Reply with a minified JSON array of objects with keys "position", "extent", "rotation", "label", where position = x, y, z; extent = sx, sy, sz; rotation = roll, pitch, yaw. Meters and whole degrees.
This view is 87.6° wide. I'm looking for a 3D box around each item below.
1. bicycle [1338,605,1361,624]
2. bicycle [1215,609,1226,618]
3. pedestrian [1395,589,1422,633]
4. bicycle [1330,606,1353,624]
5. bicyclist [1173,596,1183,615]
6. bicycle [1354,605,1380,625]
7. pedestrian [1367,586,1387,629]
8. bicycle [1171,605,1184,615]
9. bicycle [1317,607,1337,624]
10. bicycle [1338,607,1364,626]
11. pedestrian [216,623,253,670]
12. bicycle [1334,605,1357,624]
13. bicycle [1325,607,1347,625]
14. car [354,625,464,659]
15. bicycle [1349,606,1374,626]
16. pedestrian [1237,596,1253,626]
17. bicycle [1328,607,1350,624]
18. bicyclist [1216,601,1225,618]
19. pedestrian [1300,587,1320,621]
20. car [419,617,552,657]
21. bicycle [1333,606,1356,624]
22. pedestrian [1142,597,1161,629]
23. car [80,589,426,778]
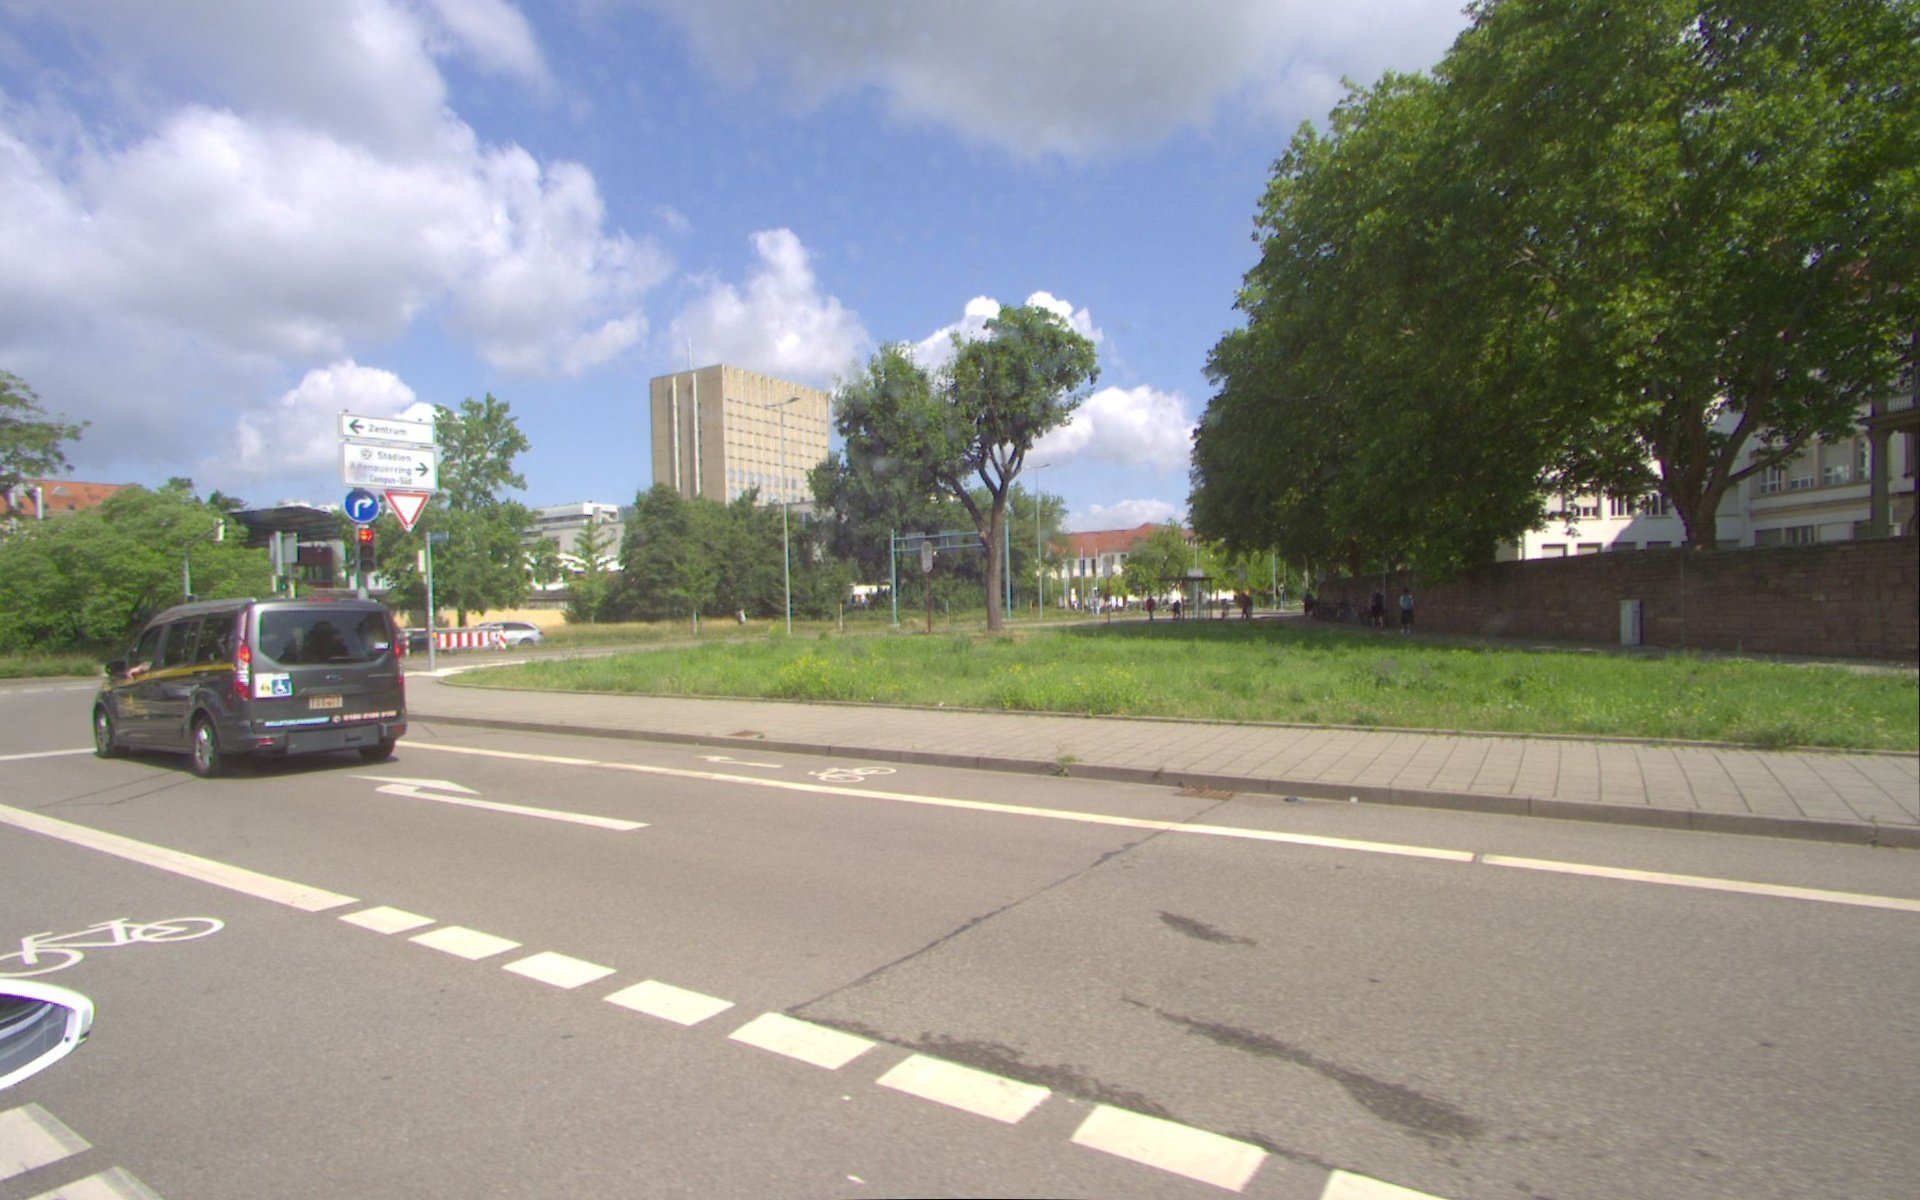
[{"position":[18.419,0.675,47.363],"extent":[0.955,0.860,0.482],"rotation":[-1,1,11],"label":"bicycle"},{"position":[21.878,1.154,84.165],"extent":[0.541,0.707,1.584],"rotation":[-1,0,28],"label":"bicycle"},{"position":[16.375,0.412,36.568],"extent":[0.712,1.554,0.724],"rotation":[-2,0,9],"label":"pedestrian"},{"position":[18.786,0.747,49.310],"extent":[0.955,0.860,0.482],"rotation":[-1,1,11],"label":"bicycle"},{"position":[16.207,0.412,74.476],"extent":[0.552,1.433,0.604],"rotation":[-1,1,28],"label":"bicyclist"},{"position":[17.686,0.644,43.549],"extent":[0.955,0.860,0.482],"rotation":[-1,1,11],"label":"bicycle"},{"position":[16.966,0.307,40.752],"extent":[0.651,1.746,0.742],"rotation":[-1,1,14],"label":"pedestrian"},{"position":[16.210,0.768,74.468],"extent":[0.541,0.707,1.584],"rotation":[-1,0,27],"label":"bicycle"},{"position":[19.554,0.828,53.364],"extent":[0.955,0.860,0.482],"rotation":[-1,1,11],"label":"bicycle"},{"position":[18.186,0.768,46.568],"extent":[1.053,0.860,0.499],"rotation":[-1,1,11],"label":"bicycle"},{"position":[-30.045,1.938,41.476],"extent":[1.161,1.881,0.697],"rotation":[-2,0,22],"label":"pedestrian"},{"position":[18.513,0.701,48.096],"extent":[0.955,0.860,0.482],"rotation":[-1,1,11],"label":"bicycle"},{"position":[18.978,0.791,50.502],"extent":[0.955,0.860,0.482],"rotation":[-1,1,11],"label":"bicycle"},{"position":[-25.985,1.957,47.350],"extent":[1.973,1.395,4.135],"rotation":[-1,0,34],"label":"car"},{"position":[17.741,0.690,44.232],"extent":[0.955,0.860,0.482],"rotation":[-1,1,11],"label":"bicycle"},{"position":[17.645,0.699,61.944],"extent":[0.739,1.803,0.766],"rotation":[-2,0,33],"label":"pedestrian"},{"position":[18.892,0.771,49.953],"extent":[0.955,0.860,0.482],"rotation":[-1,1,11],"label":"bicycle"},{"position":[21.876,0.798,84.156],"extent":[0.552,1.433,0.604],"rotation":[-1,1,28],"label":"bicyclist"},{"position":[18.765,0.216,53.658],"extent":[0.870,1.804,0.770],"rotation":[-1,1,9],"label":"pedestrian"},{"position":[-20.367,1.572,43.133],"extent":[2.037,1.460,4.746],"rotation":[-4,-2,37],"label":"car"},{"position":[18.673,0.721,48.640],"extent":[0.955,0.860,0.482],"rotation":[-1,1,11],"label":"bicycle"},{"position":[11.045,0.751,57.816],"extent":[0.738,1.803,0.961],"rotation":[-2,0,30],"label":"pedestrian"},{"position":[-8.351,0.859,11.695],"extent":[4.608,1.808,1.844],"rotation":[-1,-1,35],"label":"car"}]
